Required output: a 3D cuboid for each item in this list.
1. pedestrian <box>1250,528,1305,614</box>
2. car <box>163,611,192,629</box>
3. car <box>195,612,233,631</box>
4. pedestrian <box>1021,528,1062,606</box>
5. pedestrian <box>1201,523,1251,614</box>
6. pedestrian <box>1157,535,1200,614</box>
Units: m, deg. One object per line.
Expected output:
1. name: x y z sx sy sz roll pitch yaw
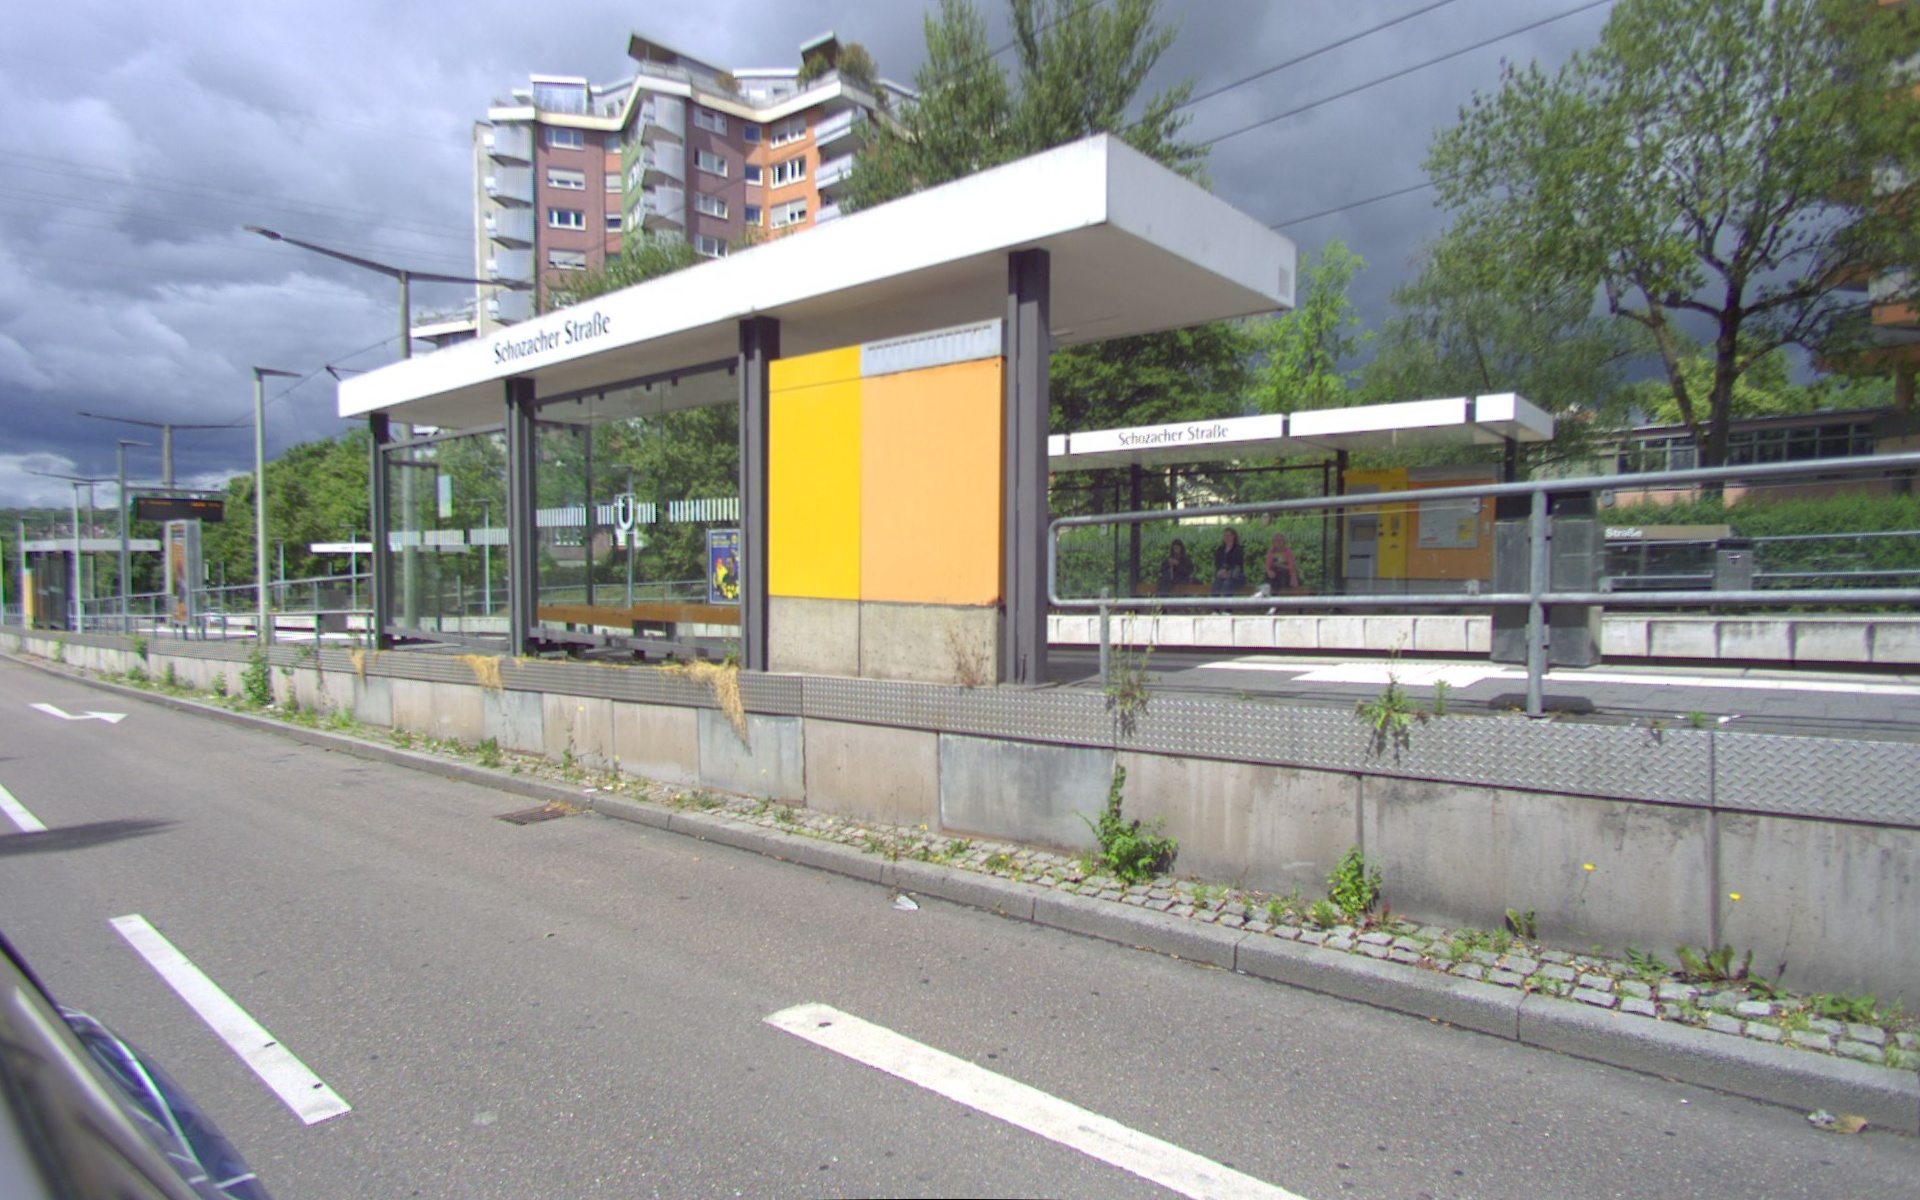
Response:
1. pedestrian: 4.760 -0.421 15.154 0.517 1.246 0.734 -1 -1 41
2. car: -70.704 1.792 91.435 1.635 1.524 3.740 -1 0 -45
3. car: -58.767 1.679 79.692 3.999 1.429 1.637 -1 0 42
4. pedestrian: 1.478 -0.602 18.350 0.520 1.390 0.537 2 1 32
5. pedestrian: 4.156 -0.481 15.813 0.506 1.379 0.637 -1 -1 41
6. pedestrian: 3.551 -0.408 16.436 0.541 1.246 0.516 -1 0 29
